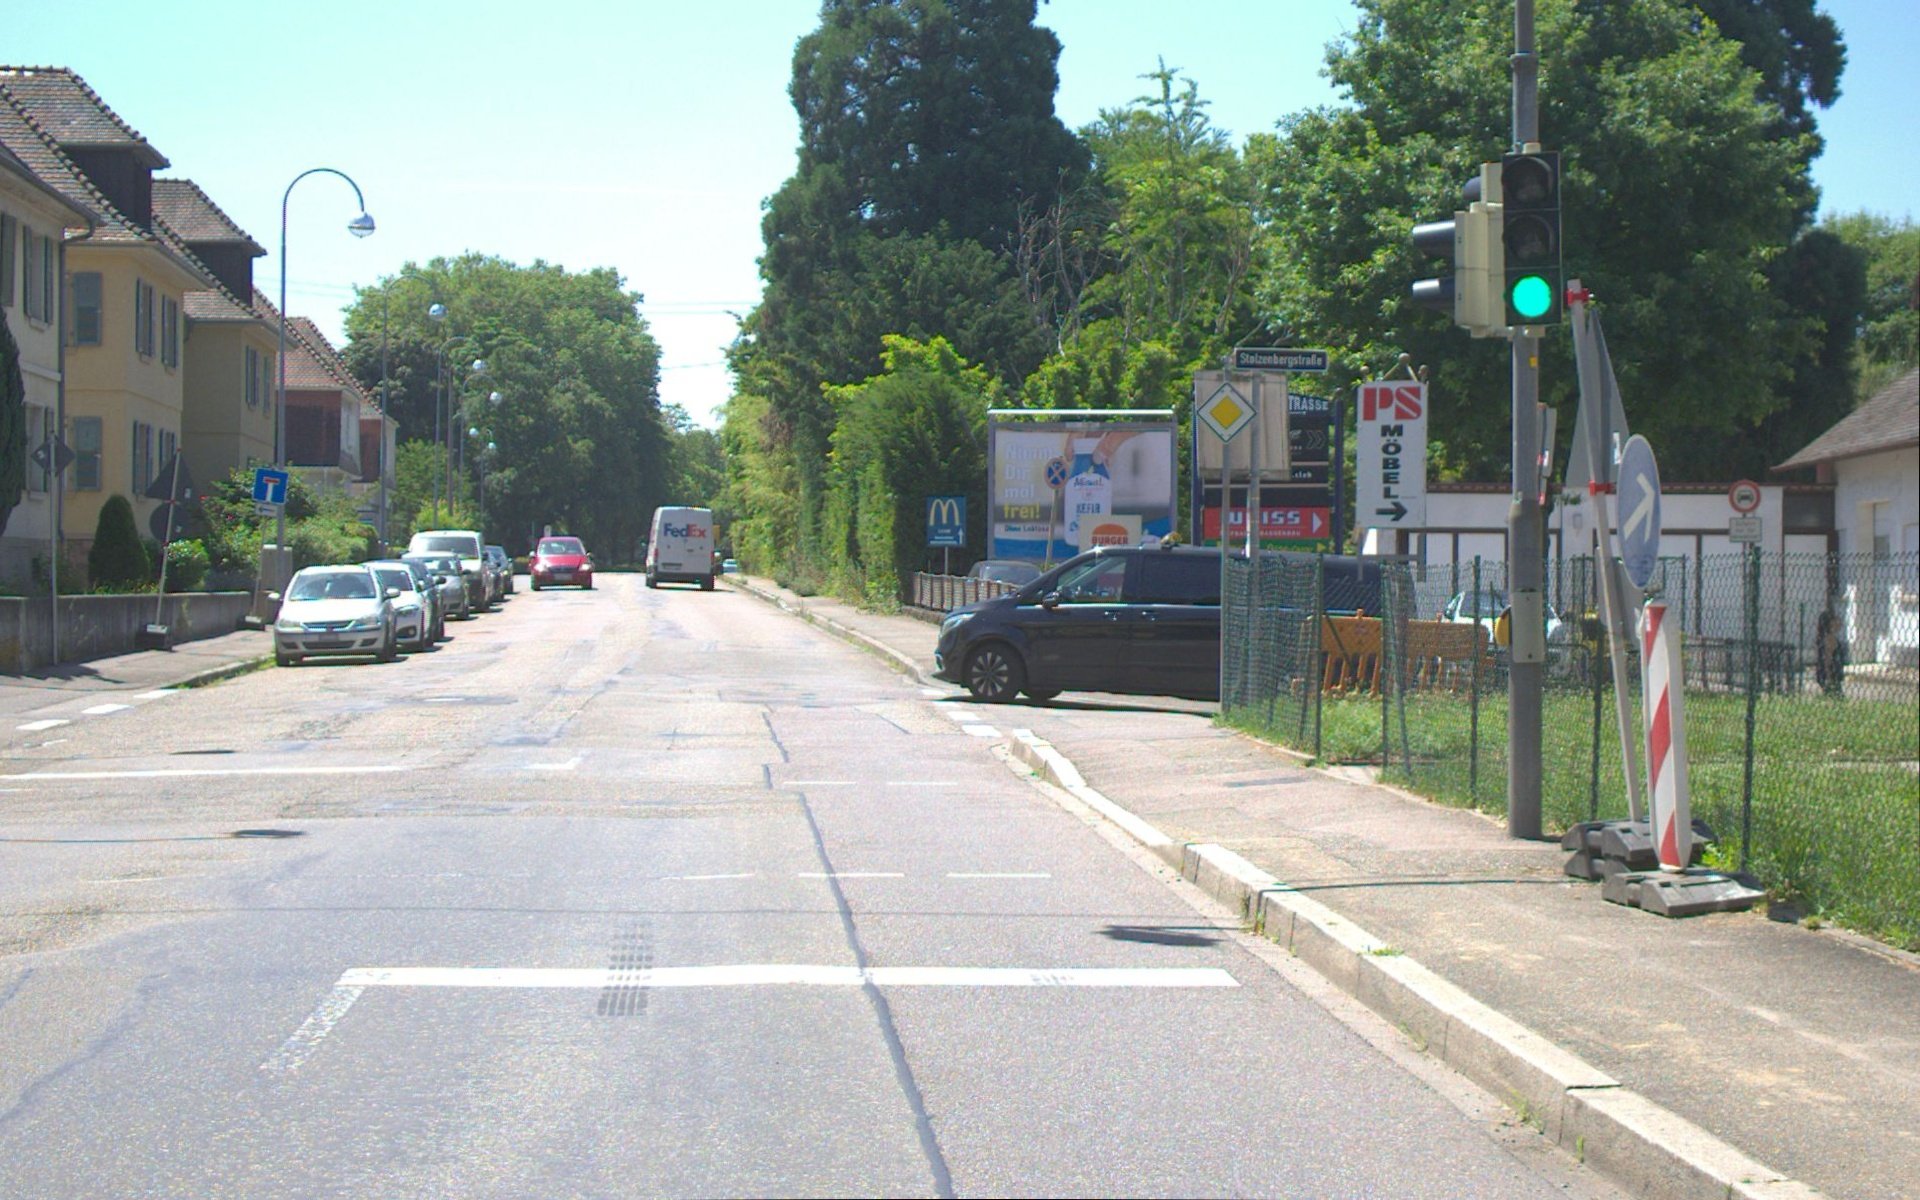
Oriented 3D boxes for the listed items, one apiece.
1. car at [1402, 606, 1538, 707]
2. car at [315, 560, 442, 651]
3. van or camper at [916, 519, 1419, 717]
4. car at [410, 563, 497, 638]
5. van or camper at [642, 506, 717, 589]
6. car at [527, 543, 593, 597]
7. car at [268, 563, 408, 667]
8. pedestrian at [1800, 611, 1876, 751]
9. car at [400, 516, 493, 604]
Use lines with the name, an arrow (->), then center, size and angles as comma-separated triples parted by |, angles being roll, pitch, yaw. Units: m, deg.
car -> 7.092, 0.763, 48.034 | 1.712, 1.265, 3.384 | 1, 1, 6
car -> -9.474, 0.063, 56.287 | 1.794, 1.397, 4.220 | -1, 1, -6
van or camper -> 2.321, 0.168, 38.184 | 5.256, 2.007, 1.907 | 2, 1, 16
car -> -10.978, -0.004, 74.708 | 1.686, 1.520, 4.063 | 1, 1, -6
van or camper -> -8.883, -1.648, 108.468 | 2.262, 2.519, 4.760 | -1, 1, -5
car -> -11.879, -0.896, 102.214 | 1.814, 1.560, 3.697 | -1, 1, -5
car -> -9.210, 0.190, 51.133 | 1.759, 1.442, 3.925 | -1, 1, -6
pedestrian -> 10.177, 0.930, 39.861 | 0.695, 1.594, 0.573 | 0, 1, -5
car -> -12.147, -0.971, 81.564 | 1.877, 1.956, 4.627 | -2, 1, -6
